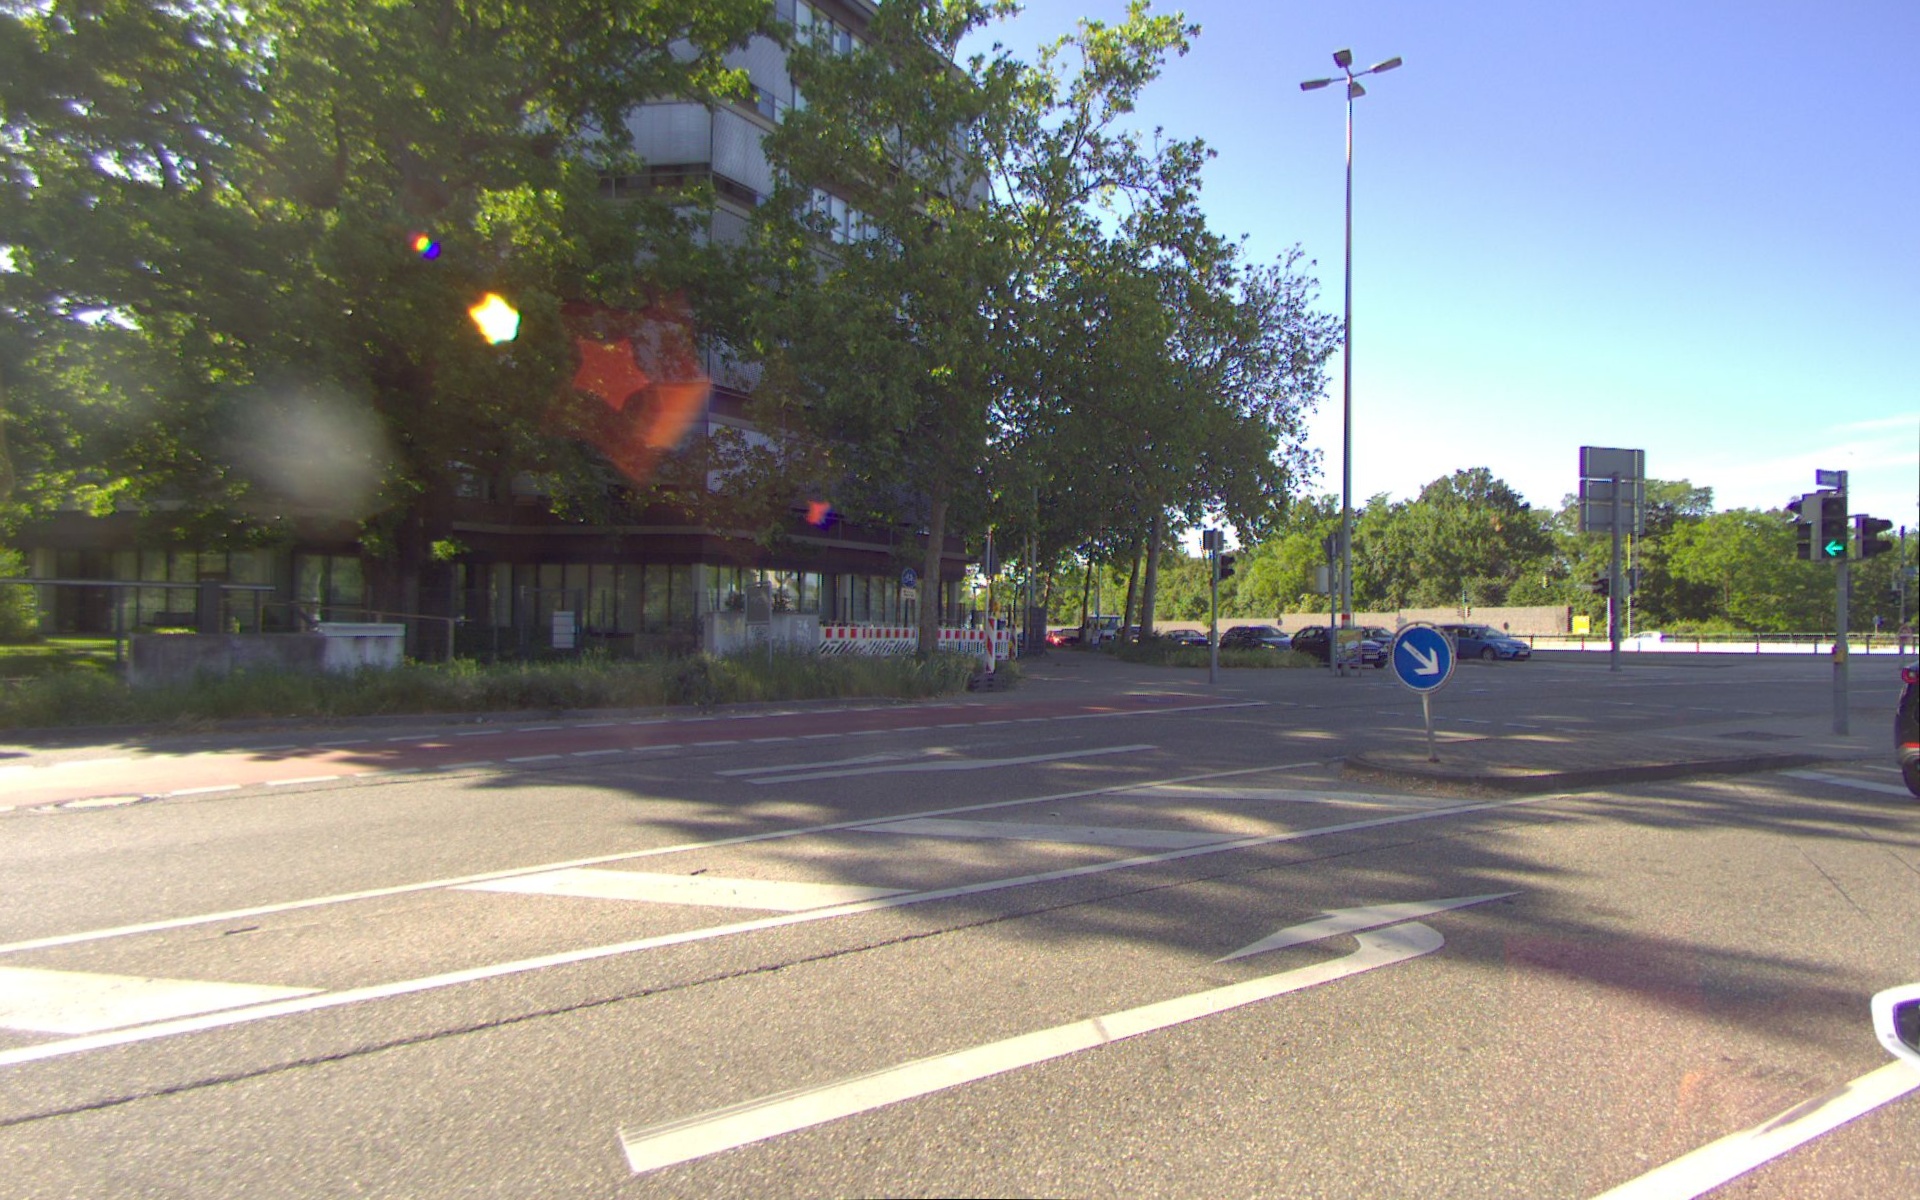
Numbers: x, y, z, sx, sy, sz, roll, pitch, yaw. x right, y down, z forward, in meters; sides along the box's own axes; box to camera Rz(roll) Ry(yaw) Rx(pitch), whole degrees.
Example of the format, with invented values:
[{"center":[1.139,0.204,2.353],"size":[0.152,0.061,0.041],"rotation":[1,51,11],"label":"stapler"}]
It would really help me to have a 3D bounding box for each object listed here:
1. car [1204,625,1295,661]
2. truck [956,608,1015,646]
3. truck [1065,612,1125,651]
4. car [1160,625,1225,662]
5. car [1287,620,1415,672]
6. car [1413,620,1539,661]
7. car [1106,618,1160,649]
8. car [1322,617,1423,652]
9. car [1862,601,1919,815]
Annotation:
[{"center":[11.914,1.753,41.640],"size":[1.847,1.376,4.501],"rotation":[1,-1,-10],"label":"car"},{"center":[2.671,2.847,109.840],"size":[3.791,3.847,9.310],"rotation":[1,0,-16],"label":"truck"},{"center":[8.722,2.029,65.682],"size":[2.123,2.391,7.508],"rotation":[1,-1,-6],"label":"truck"},{"center":[11.514,2.135,50.027],"size":[1.782,1.722,4.191],"rotation":[1,-1,-8],"label":"car"},{"center":[13.494,1.544,35.002],"size":[1.917,1.643,4.776],"rotation":[1,-1,-11],"label":"car"},{"center":[20.879,1.604,40.843],"size":[1.923,1.561,4.435],"rotation":[1,-1,-22],"label":"car"},{"center":[9.912,1.900,57.897],"size":[1.845,1.666,4.505],"rotation":[1,-1,-6],"label":"car"},{"center":[18.966,1.560,46.405],"size":[1.921,1.561,4.439],"rotation":[1,-1,-19],"label":"car"},{"center":[9.871,0.901,8.544],"size":[4.141,1.731,1.868],"rotation":[1,-1,-26],"label":"car"}]
